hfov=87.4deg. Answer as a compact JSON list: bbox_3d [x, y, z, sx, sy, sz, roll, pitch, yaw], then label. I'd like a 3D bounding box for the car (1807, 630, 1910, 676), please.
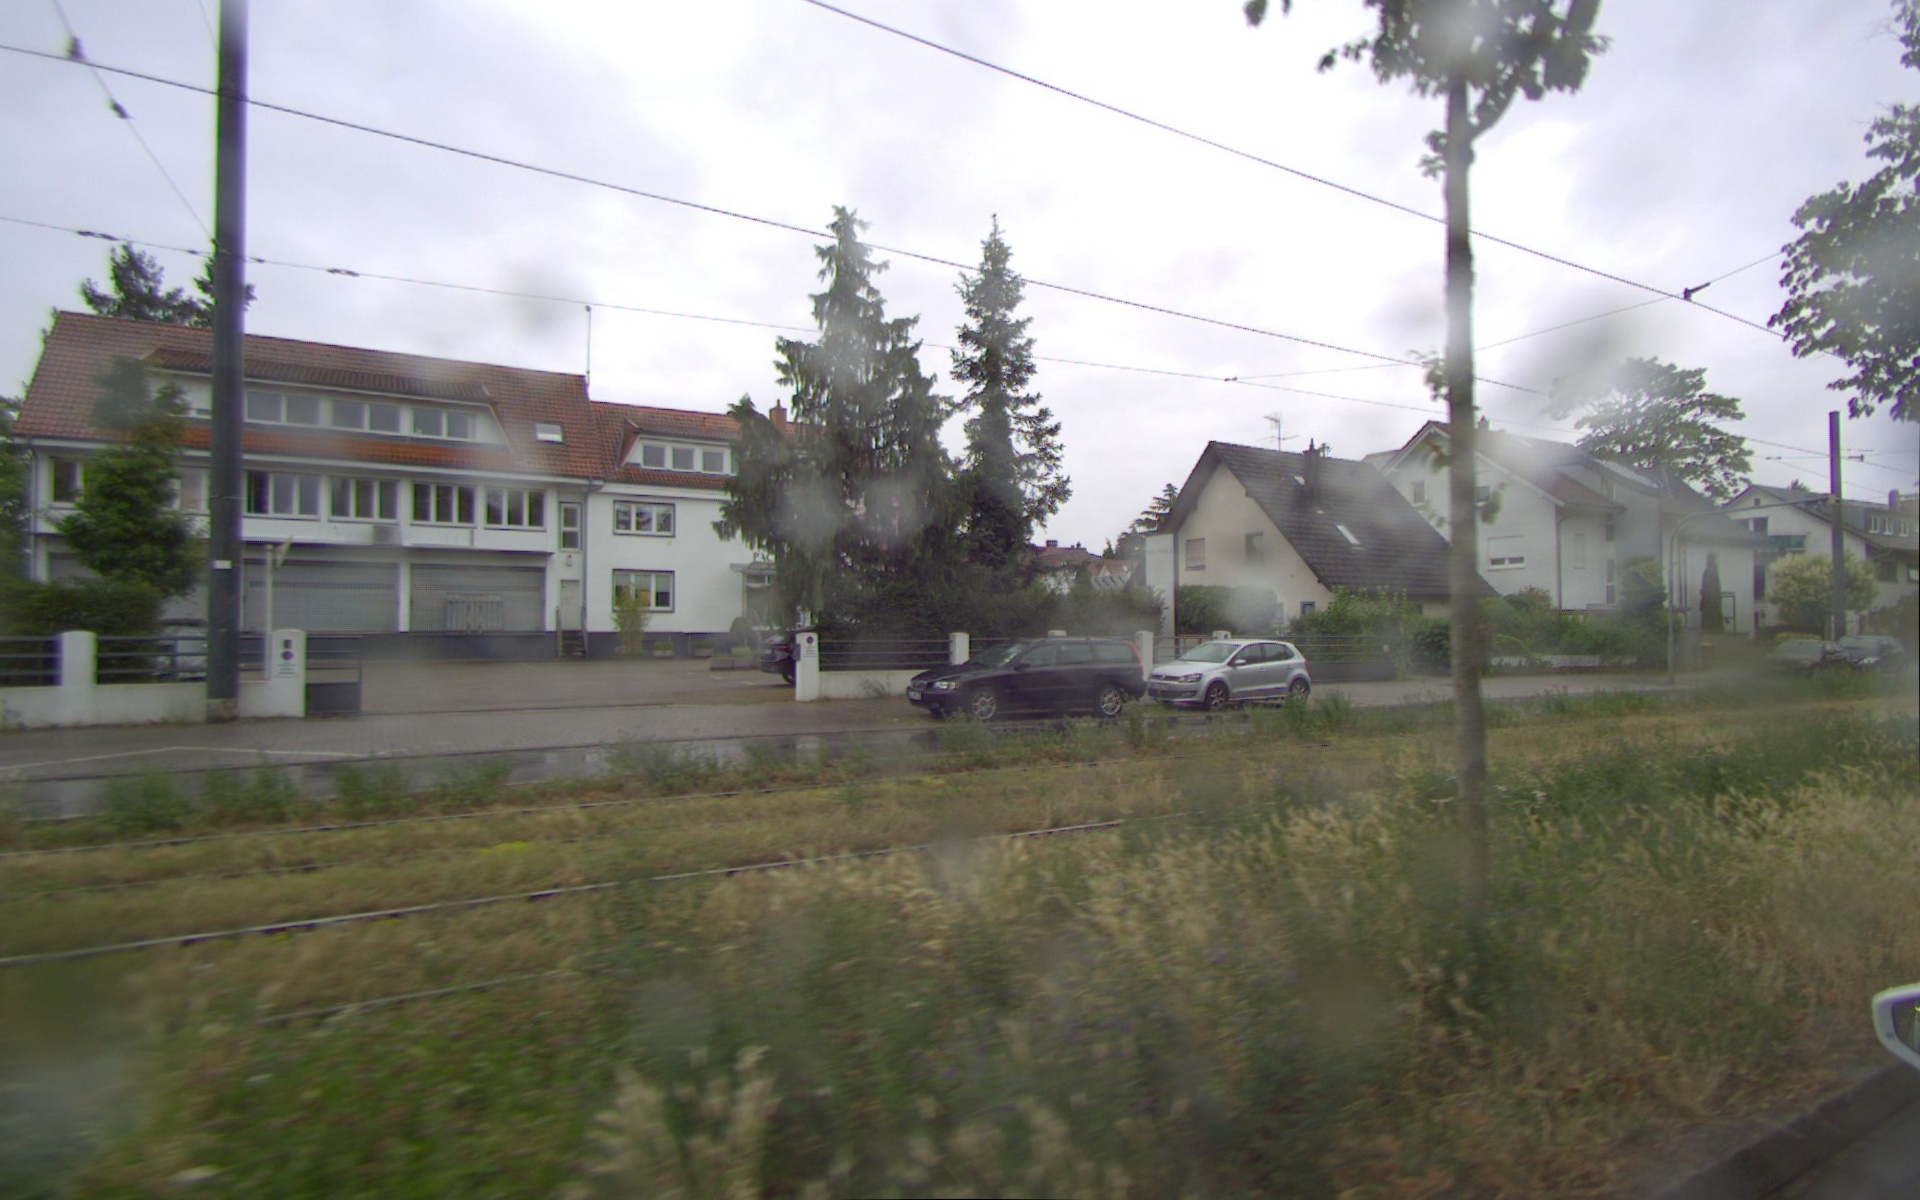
[{"bbox_3d":[34.394,1.986,38.429,3.825,1.571,1.864,1,0,-31],"label":"car"}]

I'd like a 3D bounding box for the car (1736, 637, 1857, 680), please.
[{"bbox_3d":[30.000,2.062,36.009,4.188,1.368,1.985,1,0,-29],"label":"car"}]

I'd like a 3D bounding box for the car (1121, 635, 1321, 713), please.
[{"bbox_3d":[5.630,1.517,21.607,3.925,1.430,1.983,1,0,-31],"label":"car"}]

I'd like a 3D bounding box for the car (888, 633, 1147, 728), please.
[{"bbox_3d":[1.105,1.409,18.728,4.476,1.475,1.985,1,0,-29],"label":"car"}]

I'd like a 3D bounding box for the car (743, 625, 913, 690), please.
[{"bbox_3d":[-3.382,1.413,25.811,3.873,1.475,1.984,1,0,-31],"label":"car"}]
